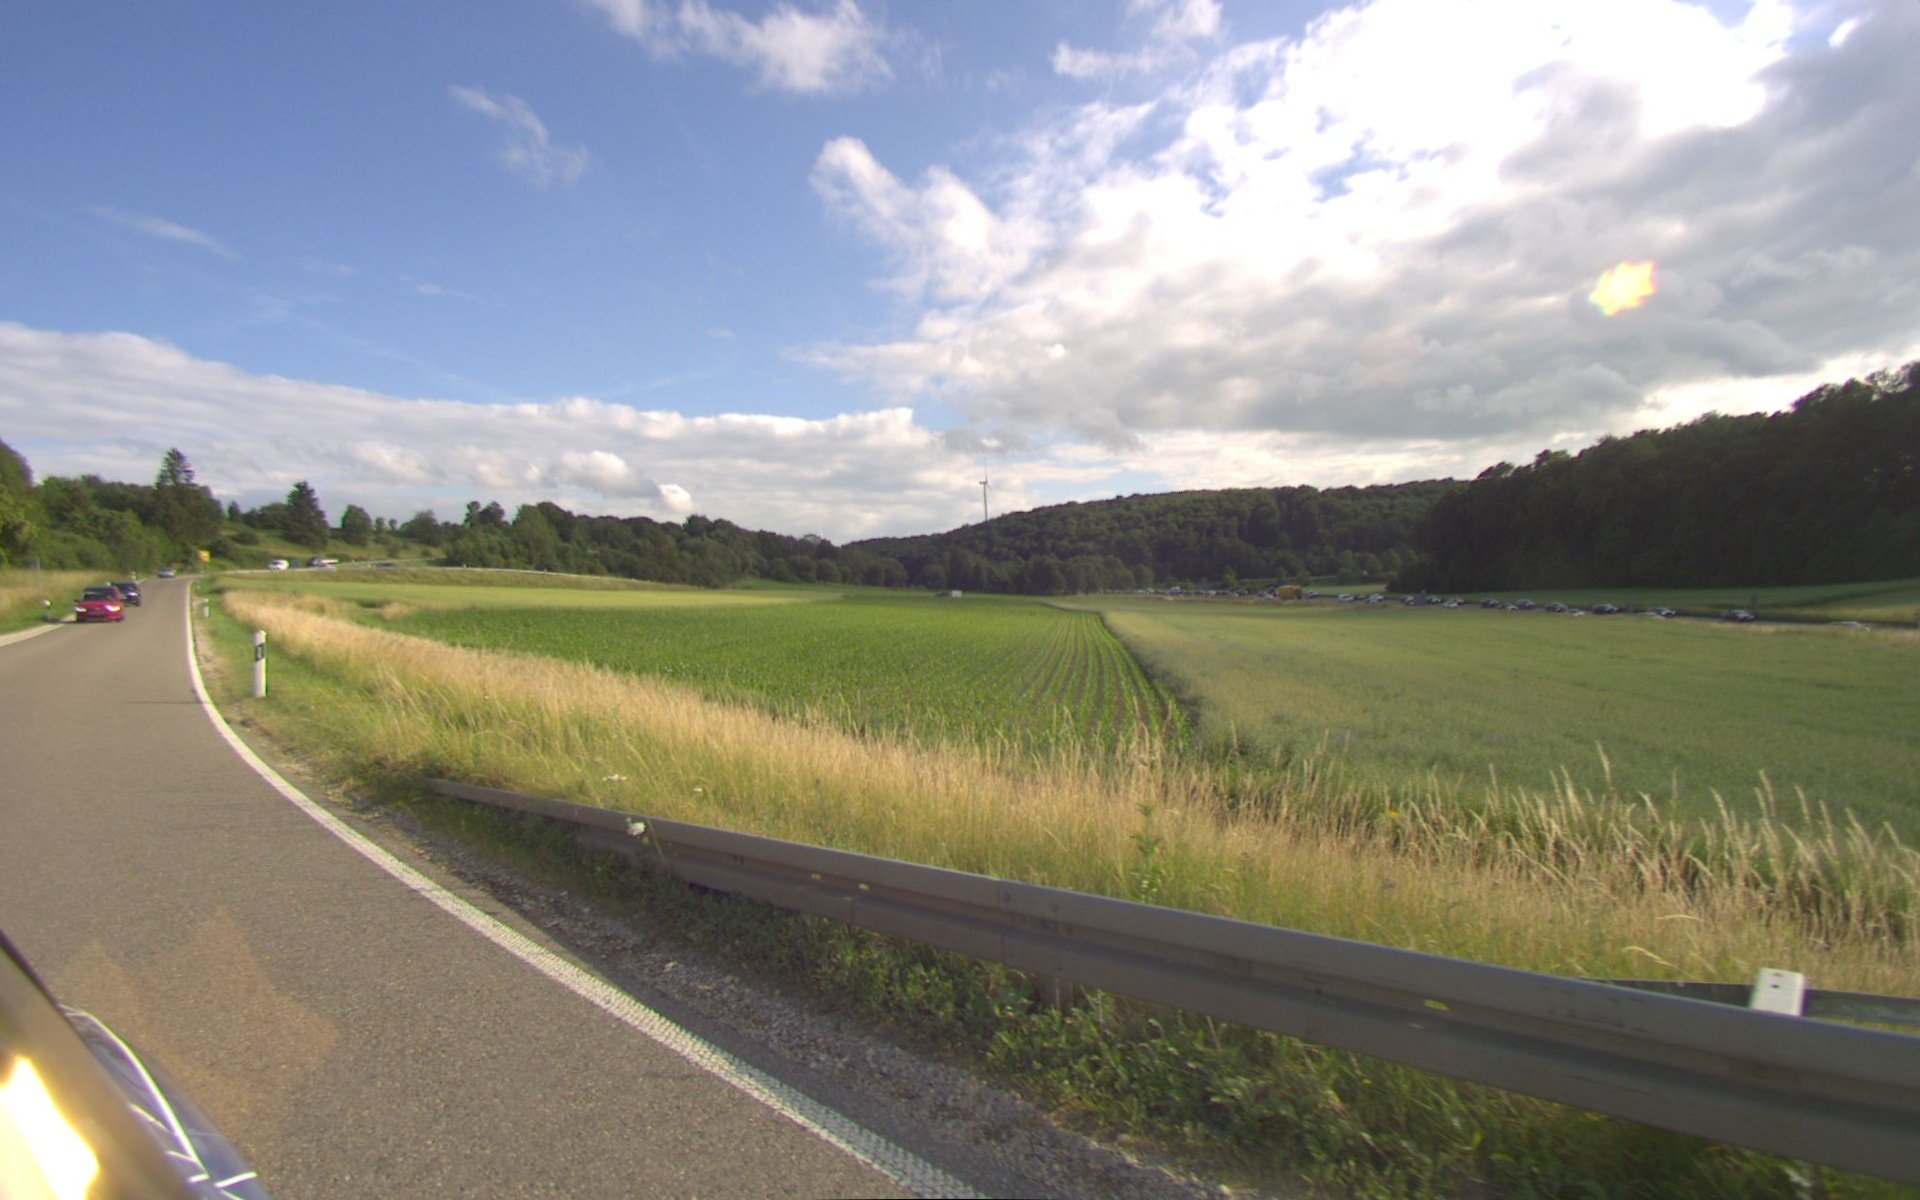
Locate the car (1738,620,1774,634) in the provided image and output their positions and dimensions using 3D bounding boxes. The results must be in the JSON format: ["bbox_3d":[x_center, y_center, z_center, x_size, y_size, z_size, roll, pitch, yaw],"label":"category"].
[{"bbox_3d":[99.674,3.405,126.746,1.782,1.599,3.989,-1,1,9],"label":"car"}]

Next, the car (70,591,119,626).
[{"bbox_3d":[-43.733,0.474,51.214,1.793,1.667,4.007,1,-2,-40],"label":"car"}]

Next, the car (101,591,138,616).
[{"bbox_3d":[-56.741,0.261,68.348,1.793,1.623,4.008,1,-1,-38],"label":"car"}]
